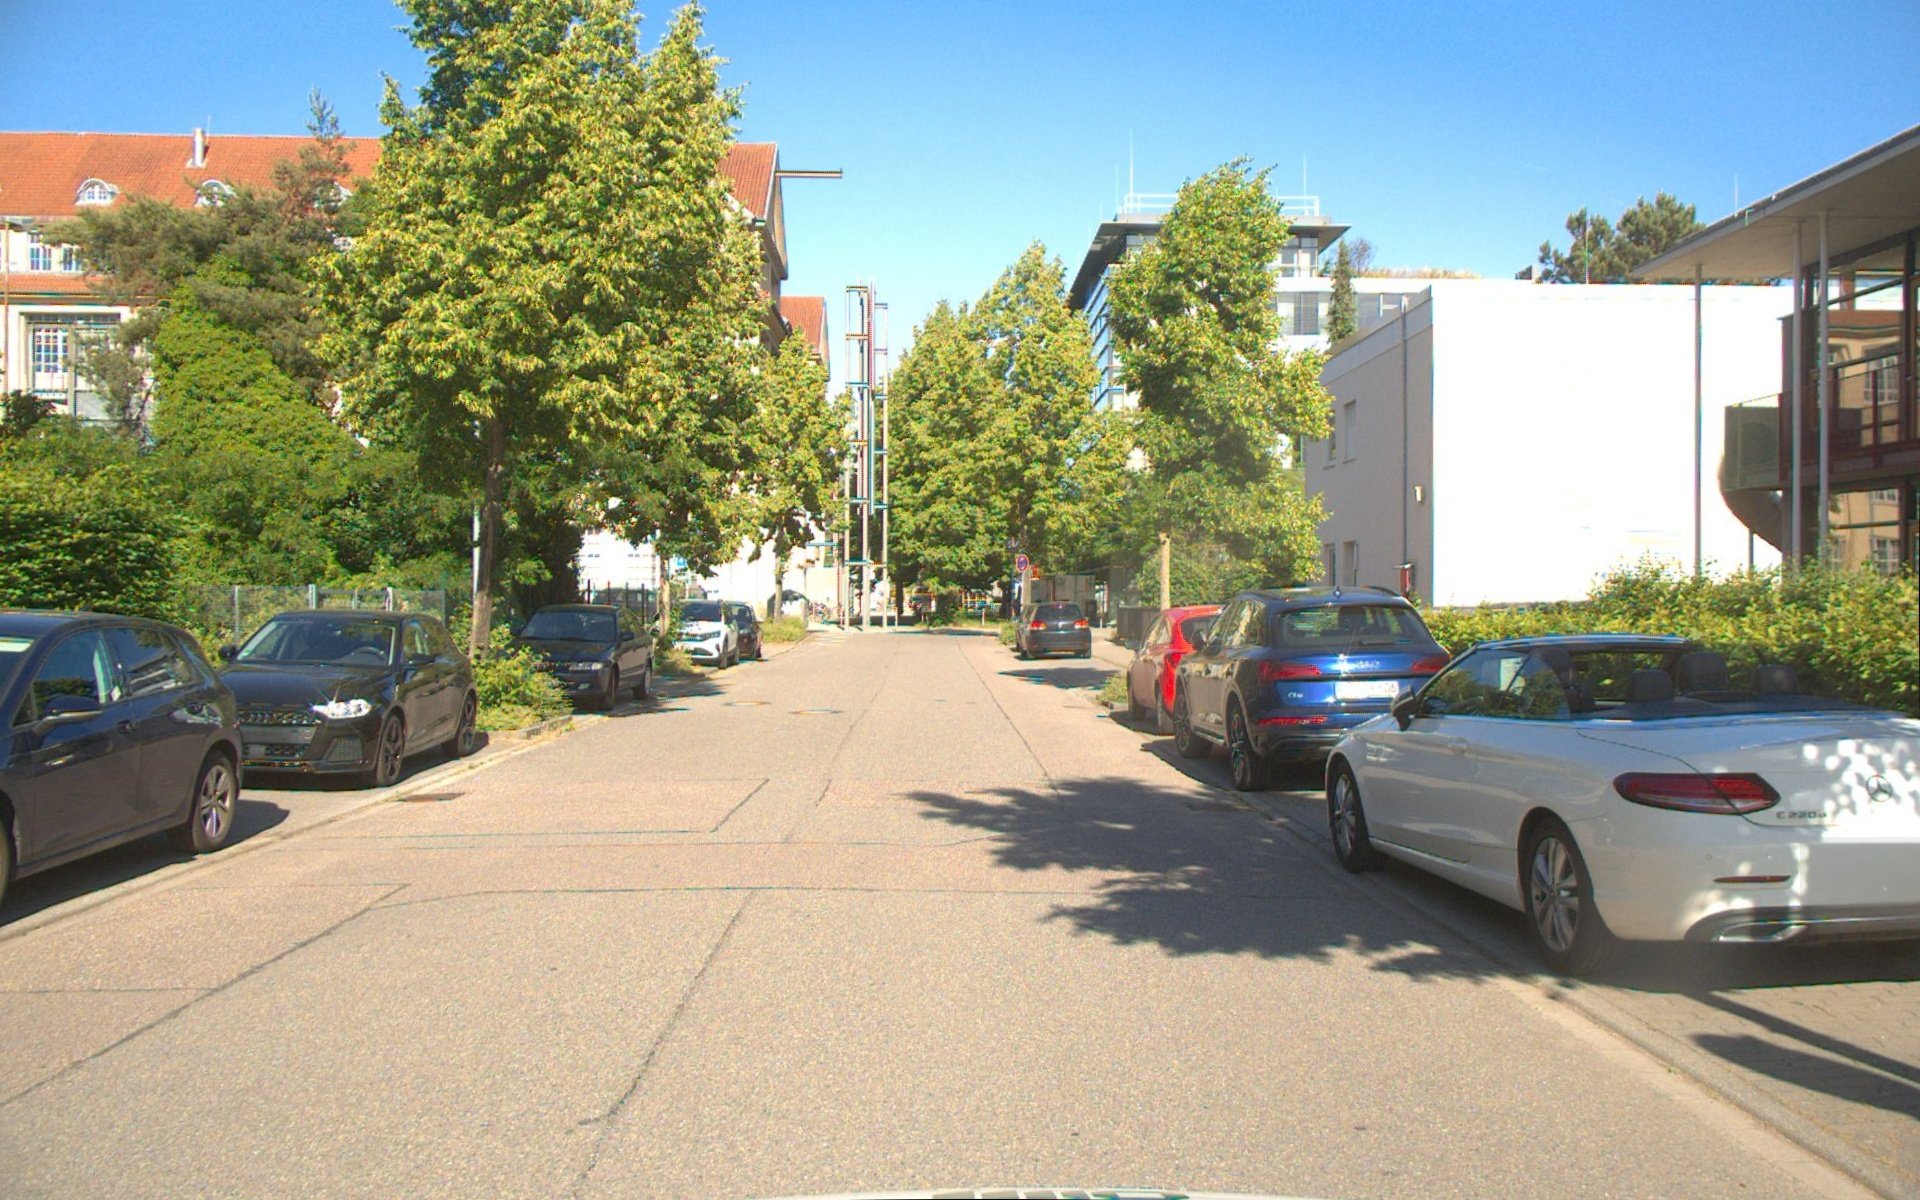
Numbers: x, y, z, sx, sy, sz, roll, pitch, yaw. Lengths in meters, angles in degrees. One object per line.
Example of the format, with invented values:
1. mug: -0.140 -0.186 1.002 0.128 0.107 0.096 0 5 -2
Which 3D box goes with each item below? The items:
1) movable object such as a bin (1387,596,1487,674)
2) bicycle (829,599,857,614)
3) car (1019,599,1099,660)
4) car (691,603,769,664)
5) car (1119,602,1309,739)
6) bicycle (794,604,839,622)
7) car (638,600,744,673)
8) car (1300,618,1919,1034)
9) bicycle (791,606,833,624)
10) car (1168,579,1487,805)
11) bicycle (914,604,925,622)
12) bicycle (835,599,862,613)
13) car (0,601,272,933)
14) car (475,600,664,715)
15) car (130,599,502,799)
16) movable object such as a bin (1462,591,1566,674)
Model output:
1. movable object such as a bin: 8.716 0.625 30.298 1.338 1.381 1.631 0 0 -1
2. bicycle: -8.602 0.450 121.718 2.015 1.085 0.506 0 0 1
3. car: 2.620 0.766 44.725 1.748 1.542 3.998 0 0 -3
4. car: -5.991 0.847 43.395 1.683 1.499 3.544 2 0 -3
5. car: 3.072 0.800 20.684 1.641 1.530 3.845 -1 0 -2
6. bicycle: -8.861 0.786 102.142 2.746 1.081 0.718 0 0 -6
7. car: -6.032 0.795 37.519 1.803 1.499 4.001 2 0 -1
8. car: 3.344 0.824 8.292 1.924 1.343 4.771 -2 0 -5
9. bicycle: -9.735 0.983 108.869 2.746 1.171 0.718 0 0 -6
10. car: 3.152 0.725 15.136 1.861 1.712 4.410 -2 0 -1
11. bicycle: -2.821 0.928 115.734 0.607 1.218 2.129 0 0 -6
12. bicycle: -8.251 0.440 122.395 2.015 1.085 0.506 0 0 1
13. car: -5.382 0.778 8.737 1.803 1.499 4.098 2 0 -1
14. car: -5.651 0.781 24.470 1.803 1.499 4.358 2 0 -1
15. car: -5.576 0.777 14.912 1.803 1.499 4.026 2 0 -1
16. movable object such as a bin: 10.115 0.574 30.280 1.338 1.473 1.631 0 0 -1
